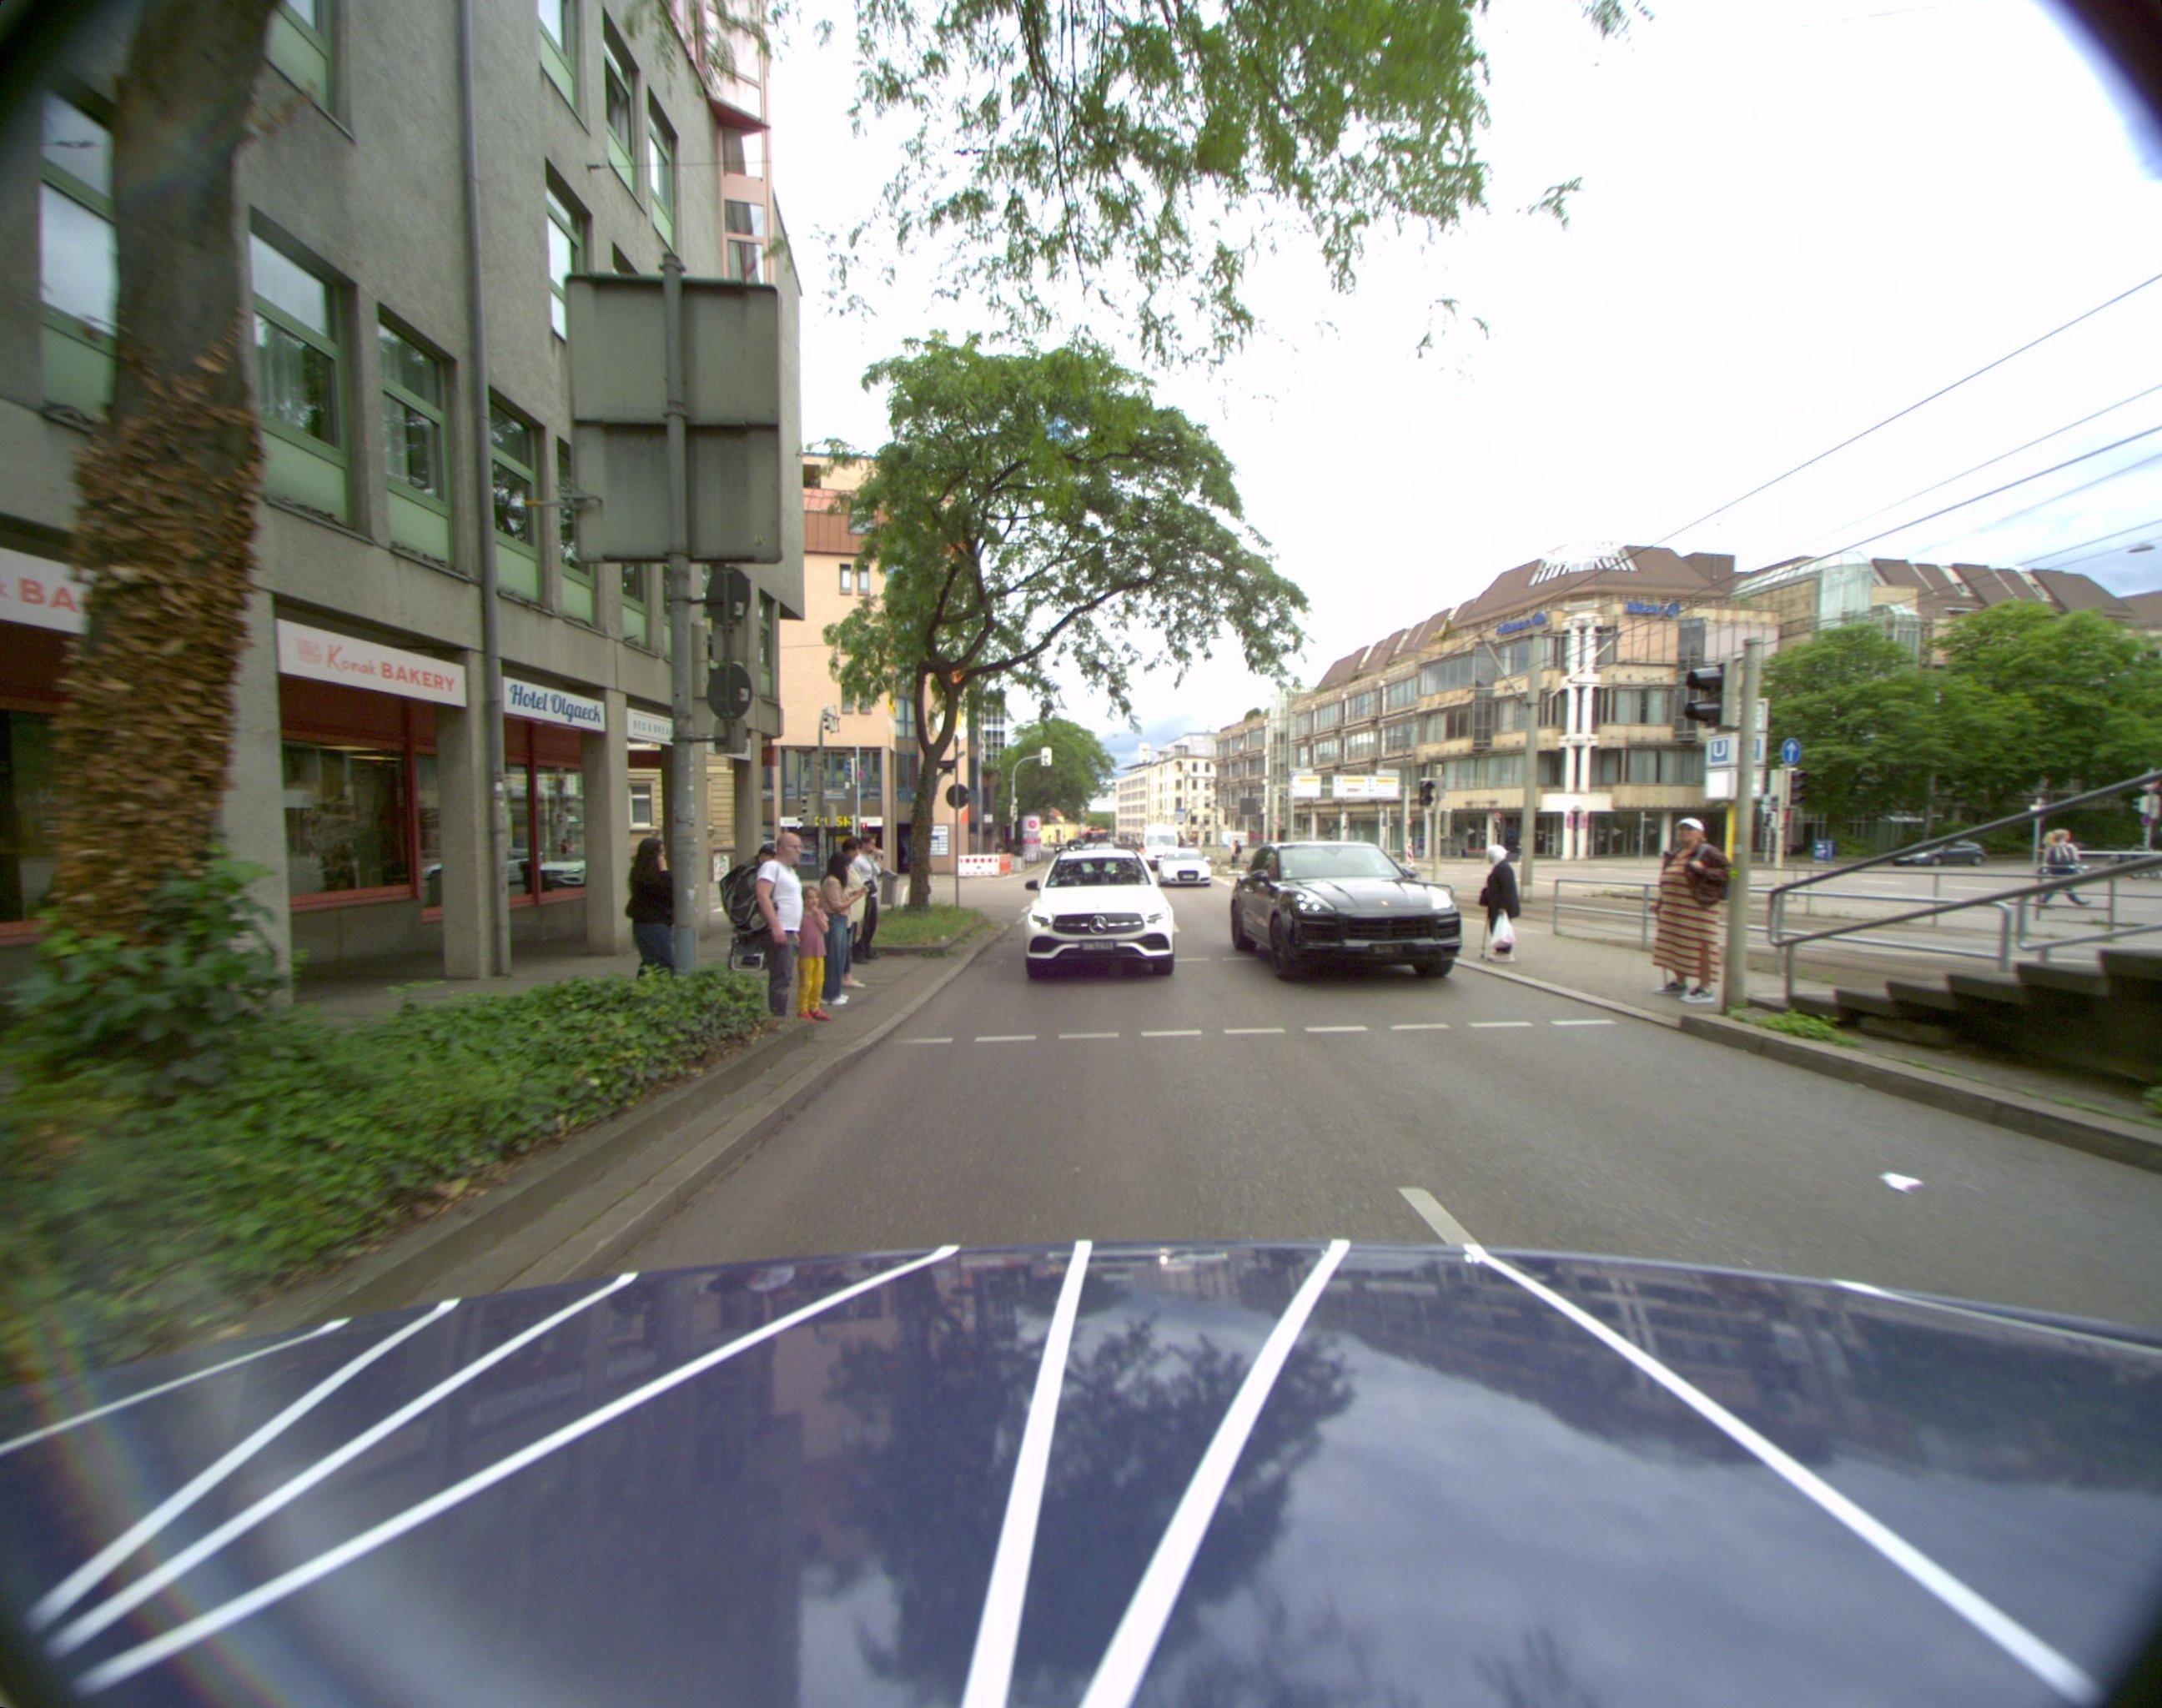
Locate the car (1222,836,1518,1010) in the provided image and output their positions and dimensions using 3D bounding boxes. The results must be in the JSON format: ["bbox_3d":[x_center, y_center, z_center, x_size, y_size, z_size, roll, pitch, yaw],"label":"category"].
[{"bbox_3d":[3.297,0.639,10.046,2.088,1.665,5.352,-1,1,3],"label":"car"}]

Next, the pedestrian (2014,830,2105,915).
[{"bbox_3d":[20.352,0.364,15.830,0.875,1.696,0.814,0,2,29],"label":"pedestrian"}]

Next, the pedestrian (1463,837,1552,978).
[{"bbox_3d":[5.387,0.646,9.646,0.637,1.701,0.871,-1,1,0],"label":"pedestrian"}]

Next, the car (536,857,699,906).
[{"bbox_3d":[-15.142,0.874,25.044,4.162,1.420,1.852,-1,1,-12],"label":"car"}]

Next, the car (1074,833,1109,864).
[{"bbox_3d":[0.808,-0.484,57.559,2.503,2.145,5.726,-2,2,1],"label":"car"}]

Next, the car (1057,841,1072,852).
[{"bbox_3d":[-2.313,-1.072,105.990,1.950,1.521,3.998,-2,2,-2],"label":"car"}]

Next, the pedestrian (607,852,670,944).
[{"bbox_3d":[-8.773,0.849,15.117,0.857,1.702,1.124,-3,0,-22],"label":"pedestrian"}]

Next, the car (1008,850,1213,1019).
[{"bbox_3d":[0.140,0.821,9.857,2.061,1.599,3.923,-2,2,-6],"label":"car"}]

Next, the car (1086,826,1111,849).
[{"bbox_3d":[2.237,-2.171,97.337,2.504,2.793,5.724,-2,2,-5],"label":"car"}]

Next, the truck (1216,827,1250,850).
[{"bbox_3d":[20.752,-2.173,104.146,2.273,3.059,7.367,1,2,-6],"label":"truck"}]

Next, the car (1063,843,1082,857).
[{"bbox_3d":[-0.988,-0.486,86.105,1.950,1.521,3.998,-2,2,-2],"label":"car"}]

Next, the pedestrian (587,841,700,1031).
[{"bbox_3d":[-3.909,0.708,6.844,0.618,1.602,0.764,1,-1,-10],"label":"pedestrian"}]

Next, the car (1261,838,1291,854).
[{"bbox_3d":[22.545,-0.912,88.002,1.678,1.749,4.778,-2,2,-6],"label":"car"}]

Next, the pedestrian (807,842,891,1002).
[{"bbox_3d":[-2.705,0.764,8.922,0.695,1.767,0.689,4,1,-4],"label":"pedestrian"}]

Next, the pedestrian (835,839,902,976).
[{"bbox_3d":[-2.988,0.720,10.748,0.736,1.864,0.733,-1,2,-4],"label":"pedestrian"}]

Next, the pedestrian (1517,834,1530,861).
[{"bbox_3d":[29.214,-0.420,50.183,0.511,1.770,0.577,-1,2,3],"label":"pedestrian"}]

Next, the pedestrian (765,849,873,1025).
[{"bbox_3d":[-2.645,0.811,7.756,0.838,1.694,0.764,1,1,-4],"label":"pedestrian"}]

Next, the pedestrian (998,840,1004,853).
[{"bbox_3d":[-10.377,-0.953,98.338,0.711,1.701,0.687,-1,1,0],"label":"pedestrian"}]

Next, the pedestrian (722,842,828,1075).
[{"bbox_3d":[-2.476,0.798,6.218,0.520,1.779,0.764,-2,2,-4],"label":"pedestrian"}]

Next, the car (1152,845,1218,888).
[{"bbox_3d":[4.135,0.455,30.682,1.950,1.521,3.998,-2,2,-2],"label":"car"}]

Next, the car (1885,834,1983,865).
[{"bbox_3d":[46.172,-0.249,41.159,4.002,1.522,1.948,-2,2,-15],"label":"car"}]

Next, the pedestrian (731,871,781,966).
[{"bbox_3d":[-4.756,0.936,11.152,0.472,1.326,0.519,-2,2,-4],"label":"pedestrian"}]

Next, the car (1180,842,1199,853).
[{"bbox_3d":[16.115,-1.011,113.058,1.662,1.543,4.531,-1,1,-6],"label":"car"}]

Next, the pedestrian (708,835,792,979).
[{"bbox_3d":[-4.302,0.676,9.929,0.723,1.792,0.834,1,-1,-4],"label":"pedestrian"}]

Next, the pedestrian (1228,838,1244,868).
[{"bbox_3d":[8.873,-0.077,43.465,0.766,1.712,0.637,-1,2,0],"label":"pedestrian"}]

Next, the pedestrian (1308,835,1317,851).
[{"bbox_3d":[26.705,-1.299,87.771,0.732,1.801,0.739,-2,2,-5],"label":"pedestrian"}]

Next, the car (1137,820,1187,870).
[{"bbox_3d":[4.771,-0.567,45.573,2.281,2.744,5.938,-2,2,0],"label":"car"}]

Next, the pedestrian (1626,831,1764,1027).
[{"bbox_3d":[5.596,0.652,6.962,0.687,1.701,0.711,-1,1,0],"label":"pedestrian"}]

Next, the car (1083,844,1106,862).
[{"bbox_3d":[1.258,-0.145,70.991,1.950,1.521,3.998,-2,2,-2],"label":"car"}]

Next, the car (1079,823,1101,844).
[{"bbox_3d":[1.202,-2.791,104.797,2.504,2.793,5.724,-2,2,-5],"label":"car"}]

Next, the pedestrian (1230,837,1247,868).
[{"bbox_3d":[8.861,-0.115,42.669,0.794,1.712,0.772,-1,2,0],"label":"pedestrian"}]

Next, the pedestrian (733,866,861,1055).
[{"bbox_3d":[-2.529,0.917,6.866,0.838,1.554,0.764,-2,2,-4],"label":"pedestrian"}]
